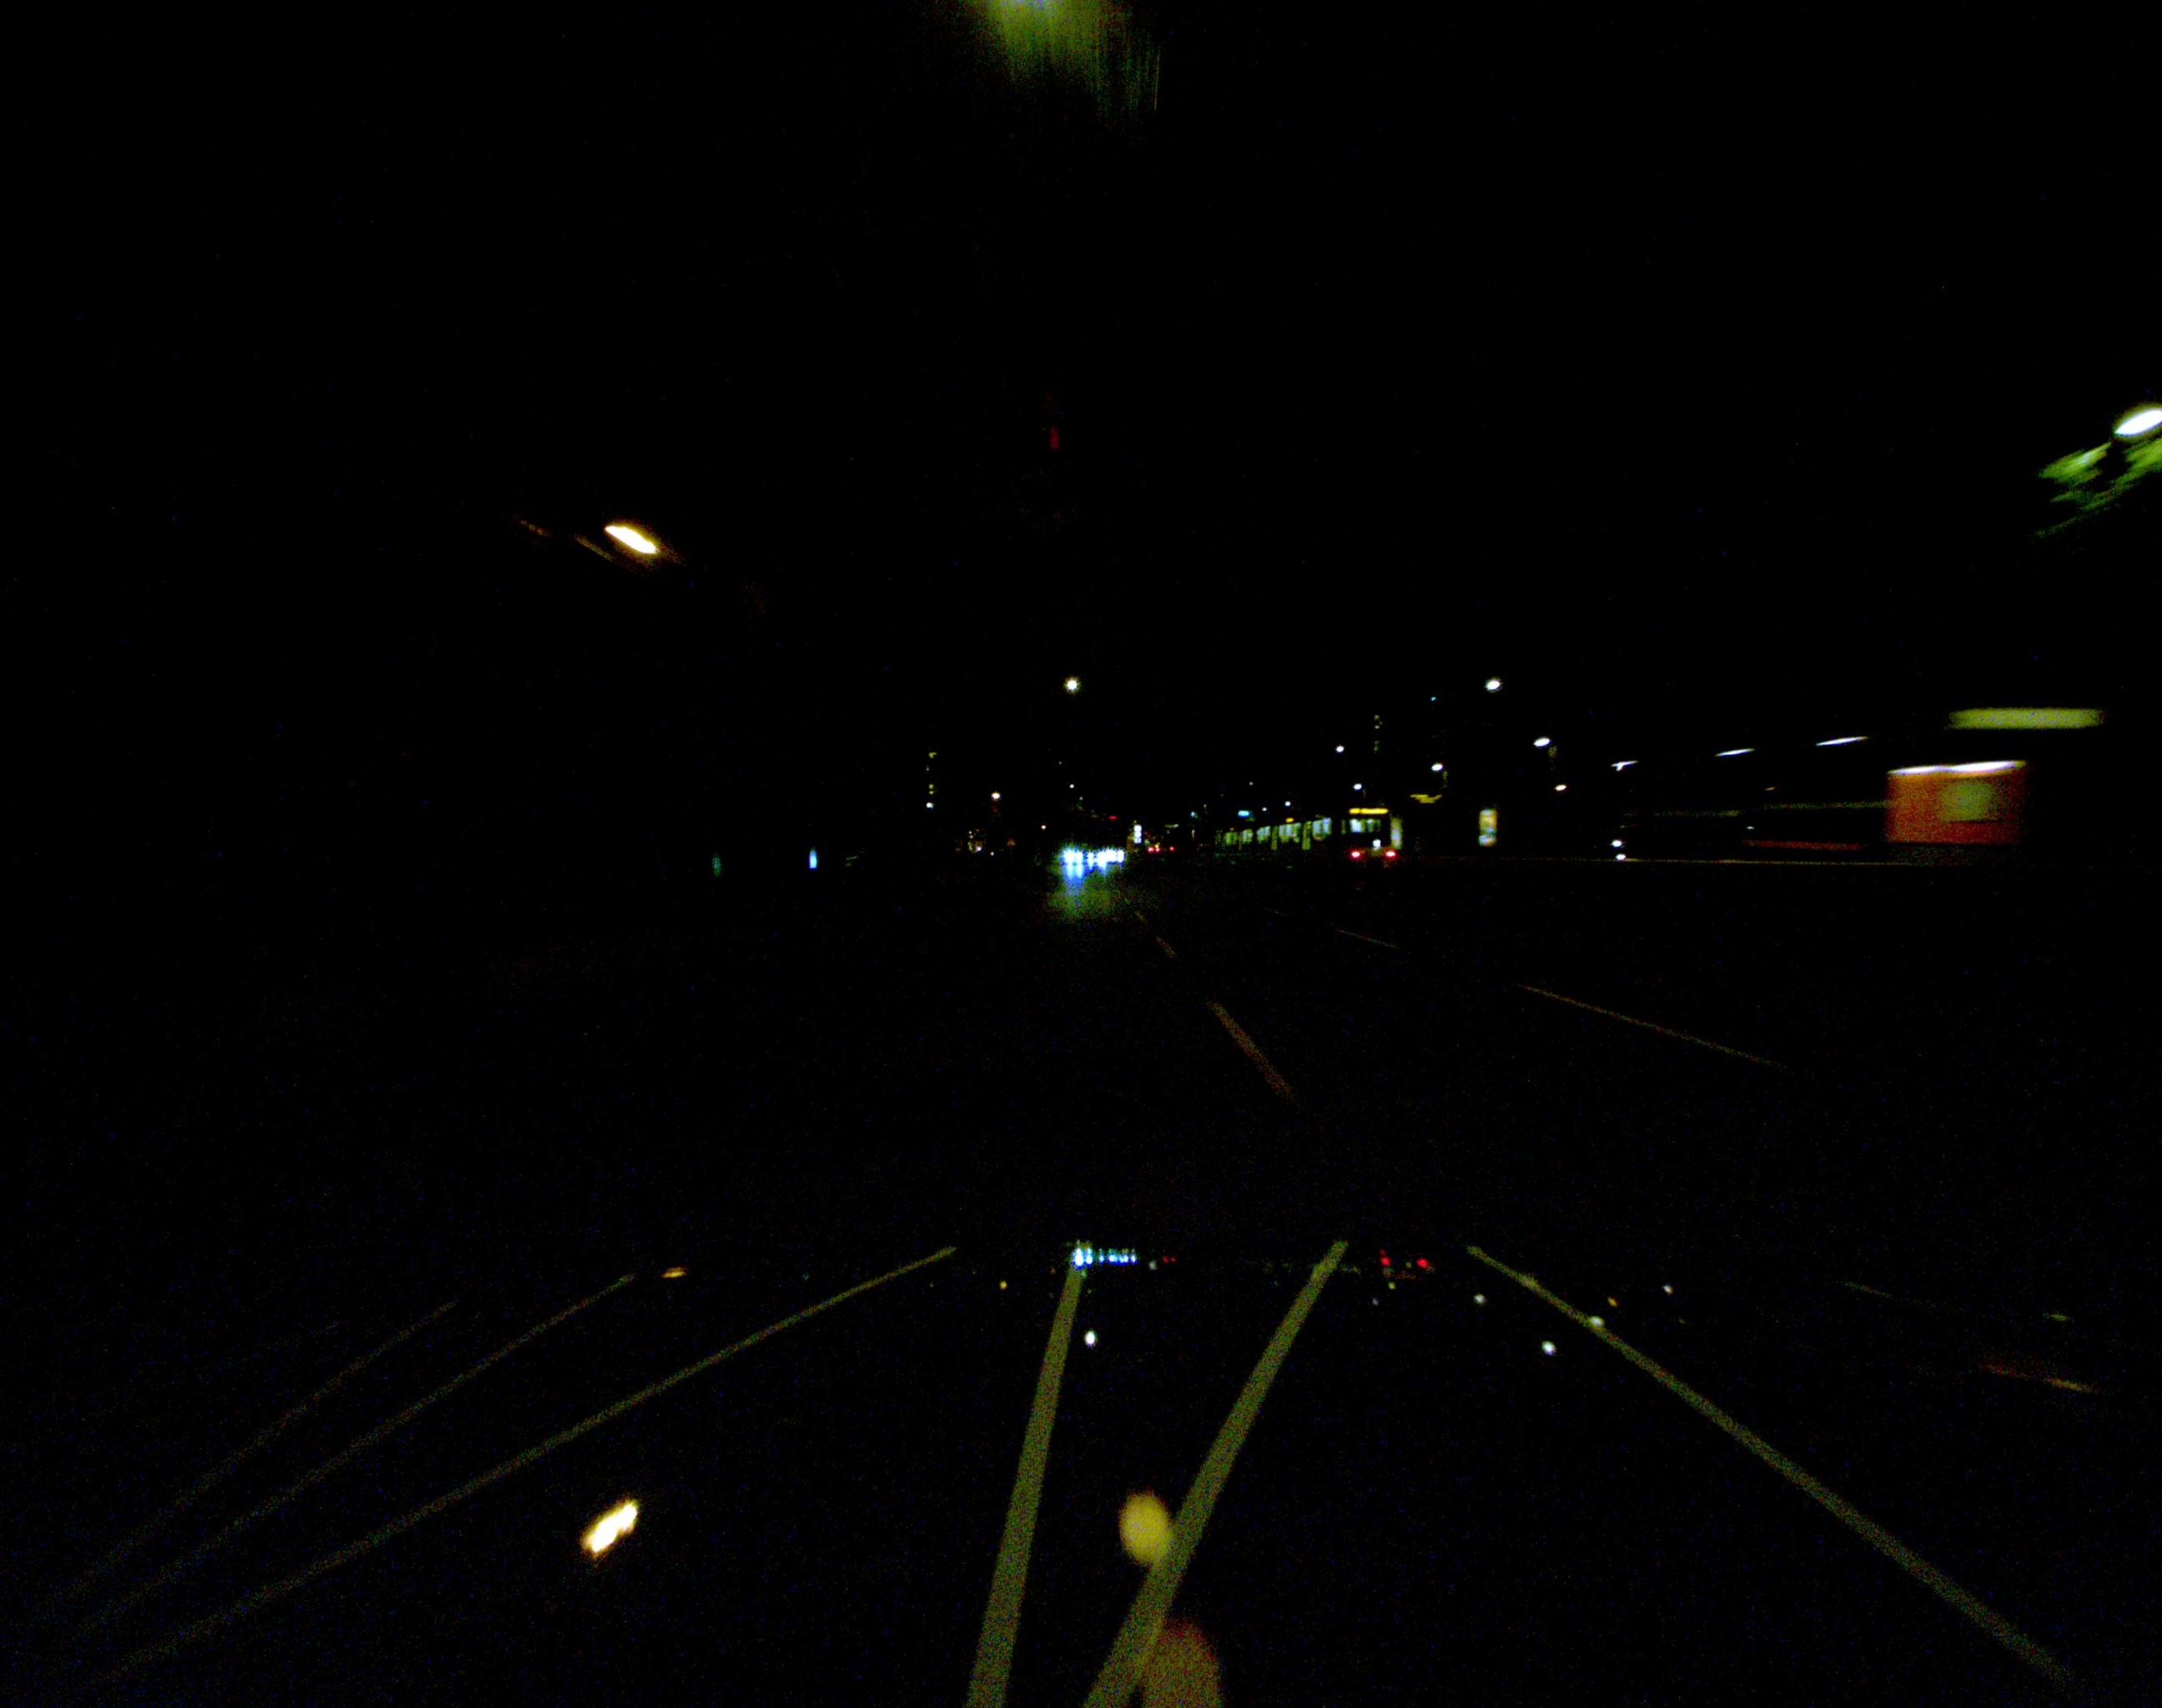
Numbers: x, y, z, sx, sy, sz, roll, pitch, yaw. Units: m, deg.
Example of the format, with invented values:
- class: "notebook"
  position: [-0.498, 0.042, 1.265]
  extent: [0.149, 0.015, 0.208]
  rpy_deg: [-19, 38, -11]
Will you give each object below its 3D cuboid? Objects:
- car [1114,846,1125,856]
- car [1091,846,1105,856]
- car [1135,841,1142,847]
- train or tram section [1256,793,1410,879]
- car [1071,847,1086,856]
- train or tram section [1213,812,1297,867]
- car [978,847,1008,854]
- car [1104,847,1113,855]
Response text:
- class: "car"
  position: [7.109, -0.564, 140.570]
  extent: [1.908, 1.609, 3.718]
  rpy_deg: [-2, 1, 1]
- class: "car"
  position: [2.683, -0.493, 118.322]
  extent: [1.858, 1.482, 3.560]
  rpy_deg: [-2, 1, 6]
- class: "car"
  position: [16.074, -2.738, 211.362]
  extent: [1.827, 1.696, 4.000]
  rpy_deg: [-2, 1, 4]
- class: "train or tram section"
  position: [13.564, -0.917, 43.743]
  extent: [2.765, 3.805, 18.668]
  rpy_deg: [-2, 1, 1]
- class: "car"
  position: [-0.393, -0.359, 119.346]
  extent: [1.947, 1.299, 3.907]
  rpy_deg: [1, 1, 6]
- class: "train or tram section"
  position: [13.833, -1.122, 62.767]
  extent: [2.745, 3.824, 19.361]
  rpy_deg: [-2, 1, 1]
- class: "car"
  position: [-12.264, -0.497, 105.830]
  extent: [4.008, 1.028, 1.480]
  rpy_deg: [0, 0, -41]
- class: "car"
  position: [6.167, -0.675, 167.800]
  extent: [1.827, 1.696, 4.000]
  rpy_deg: [-2, 1, 4]
